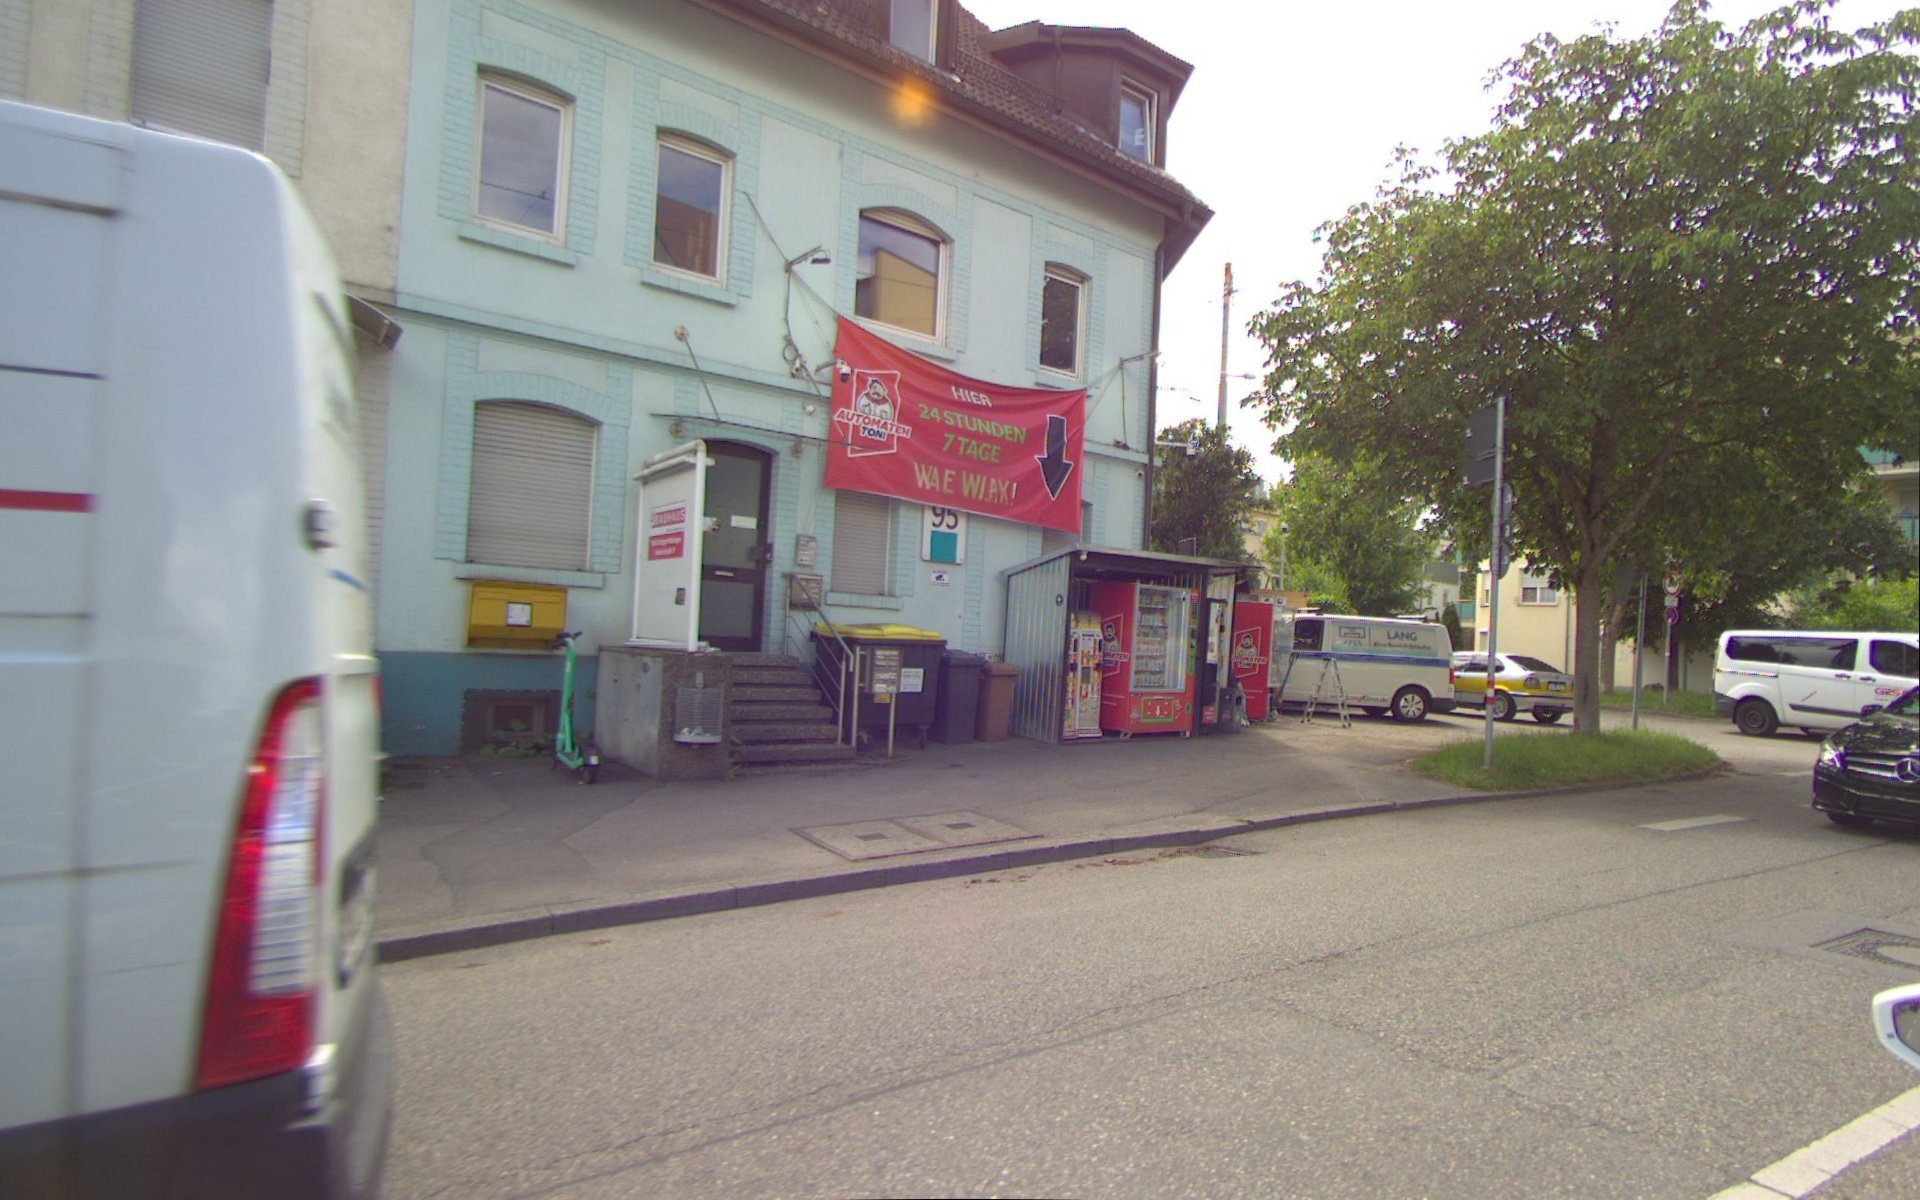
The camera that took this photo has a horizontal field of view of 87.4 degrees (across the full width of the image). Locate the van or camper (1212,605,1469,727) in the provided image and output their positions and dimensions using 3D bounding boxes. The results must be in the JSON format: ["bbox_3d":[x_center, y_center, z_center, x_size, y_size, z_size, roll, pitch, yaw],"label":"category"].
[{"bbox_3d":[7.374,1.268,19.729,4.293,2.019,1.791,3,-2,0],"label":"van or camper"}]

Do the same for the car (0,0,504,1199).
[{"bbox_3d":[-3.485,0.244,1.243,5.121,2.384,2.054,2,-4,-30],"label":"car"}]

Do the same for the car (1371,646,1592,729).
[{"bbox_3d":[11.175,1.840,21.845,1.791,1.431,4.007,4,-2,-23],"label":"car"}]

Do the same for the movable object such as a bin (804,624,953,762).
[{"bbox_3d":[-0.908,1.006,11.137,1.236,1.372,1.012,4,-1,-37],"label":"movable object such as a bin"}]

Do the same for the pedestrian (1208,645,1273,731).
[{"bbox_3d":[4.455,1.392,15.953,0.734,1.288,0.618,4,-1,-41],"label":"pedestrian"}]

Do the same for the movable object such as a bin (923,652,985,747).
[{"bbox_3d":[-0.072,1.153,11.717,0.513,1.053,0.429,4,-1,-37],"label":"movable object such as a bin"}]

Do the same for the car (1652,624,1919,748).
[{"bbox_3d":[16.108,1.534,18.612,2.076,2.019,5.209,2,-3,-19],"label":"car"}]

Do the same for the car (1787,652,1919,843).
[{"bbox_3d":[9.441,1.276,8.895,4.171,1.501,1.682,3,-5,-26],"label":"car"}]

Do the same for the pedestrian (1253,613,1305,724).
[{"bbox_3d":[5.724,1.222,18.037,0.616,1.921,0.562,3,-1,43],"label":"pedestrian"}]

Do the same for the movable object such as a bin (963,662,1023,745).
[{"bbox_3d":[0.402,1.239,12.113,0.513,0.944,0.443,4,-1,-37],"label":"movable object such as a bin"}]

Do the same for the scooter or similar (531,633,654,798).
[{"bbox_3d":[-3.162,0.928,8.554,0.540,1.199,1.543,4,-1,-35],"label":"scooter or similar"}]
